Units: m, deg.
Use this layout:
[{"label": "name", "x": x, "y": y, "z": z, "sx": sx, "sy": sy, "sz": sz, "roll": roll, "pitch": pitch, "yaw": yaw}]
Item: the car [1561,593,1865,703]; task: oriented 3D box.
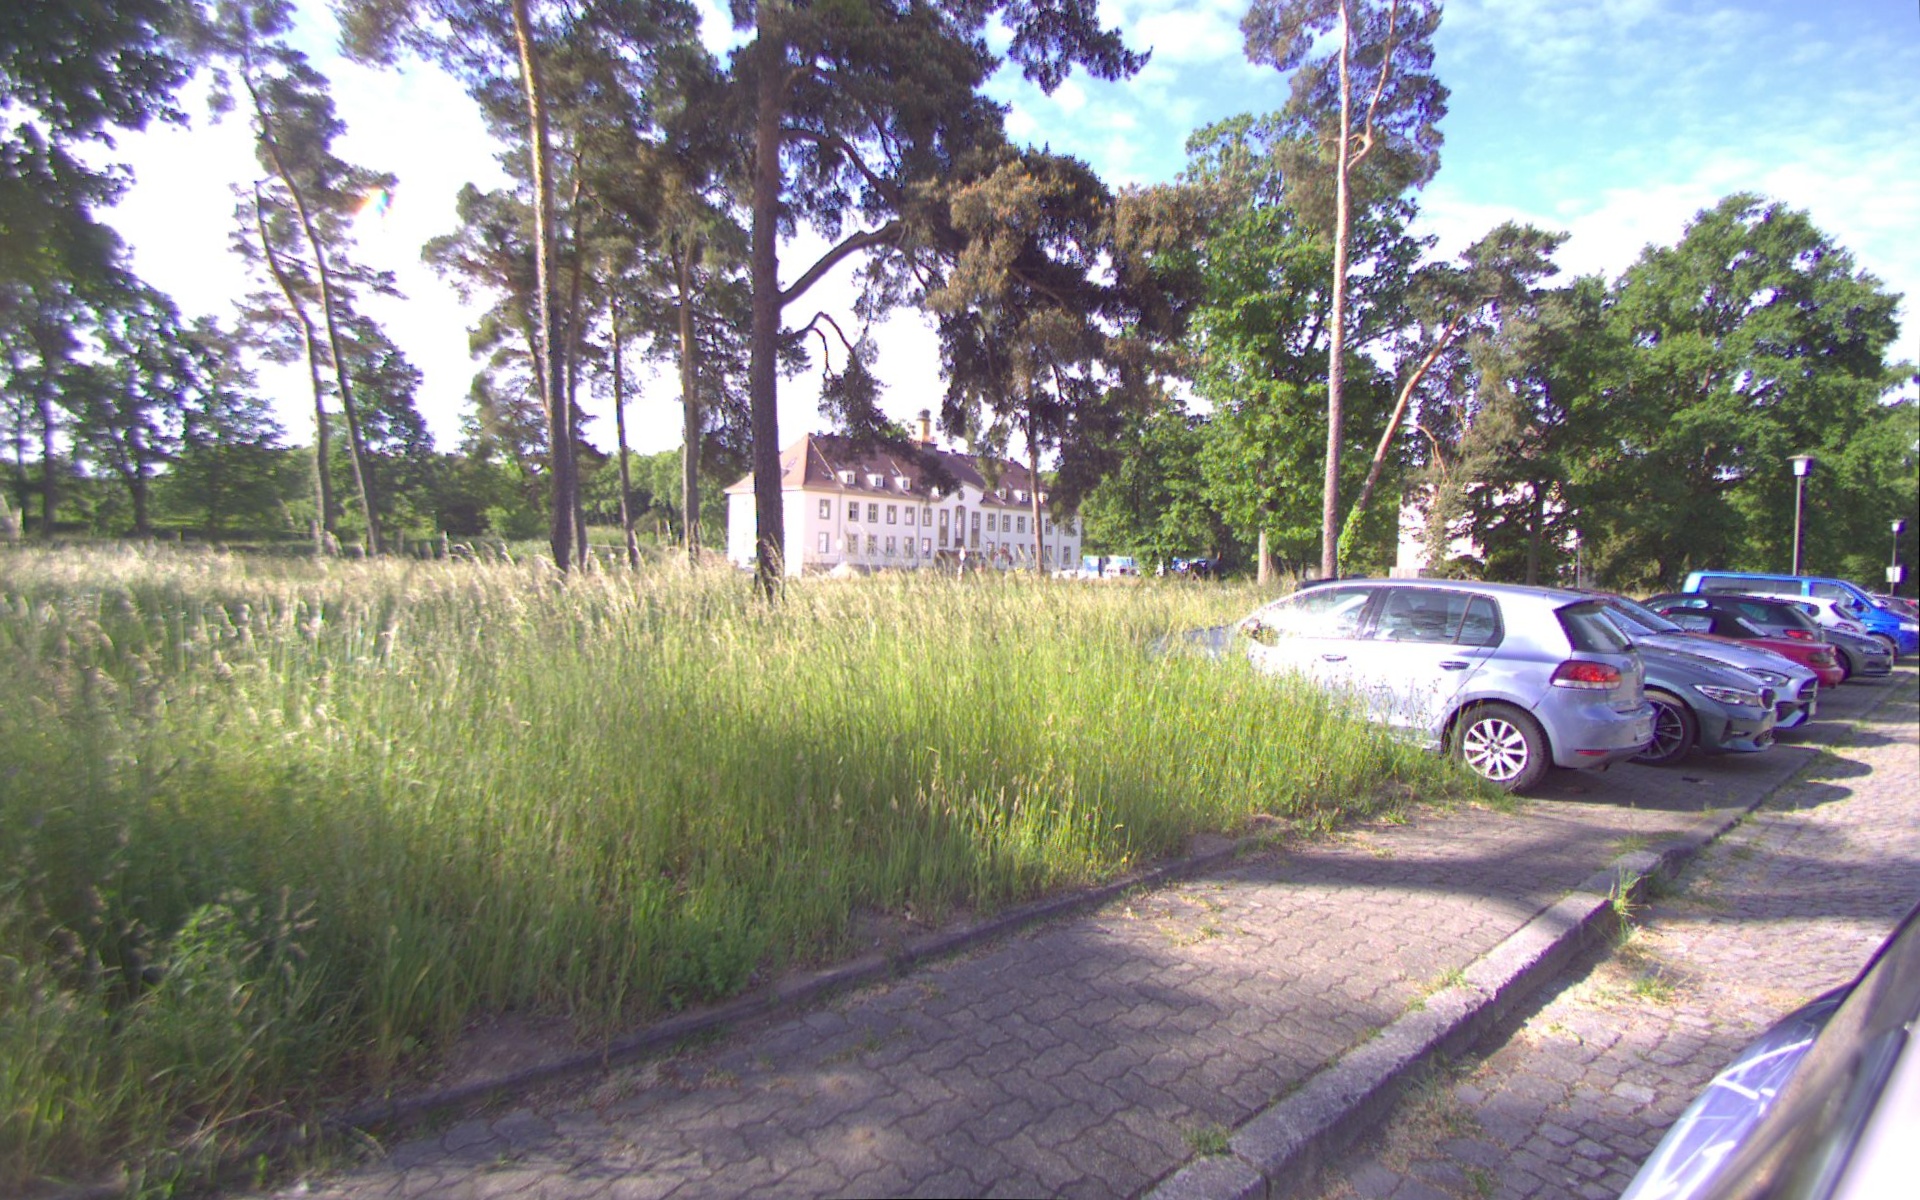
[{"label": "car", "x": 10.928, "y": 0.609, "z": 14.836, "sx": 1.396, "sy": 1.271, "sz": 3.353, "roll": 0, "pitch": 3, "yaw": -43}]

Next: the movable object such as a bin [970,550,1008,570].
[{"label": "movable object such as a bin", "x": 3.657, "y": -4.983, "z": 126.691, "sx": 1.994, "sy": 2.351, "sz": 4.909, "roll": 4, "pitch": 3, "yaw": 43}]

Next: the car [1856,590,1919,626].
[{"label": "car", "x": 45.015, "y": 0.358, "z": 47.659, "sx": 1.725, "sy": 1.635, "sz": 3.996, "roll": -1, "pitch": 1, "yaw": -38}]

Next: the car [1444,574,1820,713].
[{"label": "car", "x": 8.911, "y": 0.464, "z": 13.676, "sx": 1.633, "sy": 1.410, "sz": 3.914, "roll": 0, "pitch": 4, "yaw": -43}]

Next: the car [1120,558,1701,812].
[{"label": "car", "x": 3.538, "y": 0.476, "z": 8.506, "sx": 1.839, "sy": 1.478, "sz": 4.022, "roll": 0, "pitch": 4, "yaw": -43}]

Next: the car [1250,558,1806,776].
[{"label": "car", "x": 5.432, "y": 0.452, "z": 10.138, "sx": 4.498, "sy": 1.535, "sz": 1.797, "roll": 5, "pitch": 4, "yaw": 44}]

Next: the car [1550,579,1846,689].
[{"label": "car", "x": 12.329, "y": 0.479, "z": 17.082, "sx": 1.523, "sy": 1.508, "sz": 3.775, "roll": 0, "pitch": 3, "yaw": -43}]

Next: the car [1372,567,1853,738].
[{"label": "car", "x": 7.468, "y": 0.452, "z": 11.956, "sx": 1.796, "sy": 1.419, "sz": 4.418, "roll": 0, "pitch": 4, "yaw": -43}]

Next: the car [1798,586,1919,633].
[{"label": "car", "x": 34.040, "y": 0.334, "z": 37.746, "sx": 1.725, "sy": 1.536, "sz": 3.997, "roll": 0, "pitch": 3, "yaw": -39}]

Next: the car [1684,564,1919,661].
[{"label": "car", "x": 20.595, "y": 0.217, "z": 24.424, "sx": 1.965, "sy": 2.038, "sz": 4.724, "roll": 0, "pitch": 3, "yaw": -41}]

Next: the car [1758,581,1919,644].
[{"label": "car", "x": 26.861, "y": 0.345, "z": 30.591, "sx": 1.725, "sy": 1.660, "sz": 3.997, "roll": 0, "pitch": 3, "yaw": -39}]

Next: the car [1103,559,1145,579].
[{"label": "car", "x": 17.831, "y": -3.336, "z": 109.814, "sx": 4.691, "sy": 2.038, "sz": 1.997, "roll": 0, "pitch": 3, "yaw": -42}]

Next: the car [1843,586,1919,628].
[{"label": "car", "x": 41.562, "y": 0.297, "z": 44.448, "sx": 1.725, "sy": 1.763, "sz": 3.996, "roll": 0, "pitch": 1, "yaw": -39}]

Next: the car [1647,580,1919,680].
[{"label": "car", "x": 14.980, "y": 0.465, "z": 18.556, "sx": 1.478, "sy": 1.508, "sz": 3.630, "roll": 0, "pitch": 3, "yaw": -33}]

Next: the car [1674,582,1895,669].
[{"label": "car", "x": 16.798, "y": 0.462, "z": 20.724, "sx": 1.423, "sy": 1.508, "sz": 3.264, "roll": 0, "pitch": 3, "yaw": -40}]
